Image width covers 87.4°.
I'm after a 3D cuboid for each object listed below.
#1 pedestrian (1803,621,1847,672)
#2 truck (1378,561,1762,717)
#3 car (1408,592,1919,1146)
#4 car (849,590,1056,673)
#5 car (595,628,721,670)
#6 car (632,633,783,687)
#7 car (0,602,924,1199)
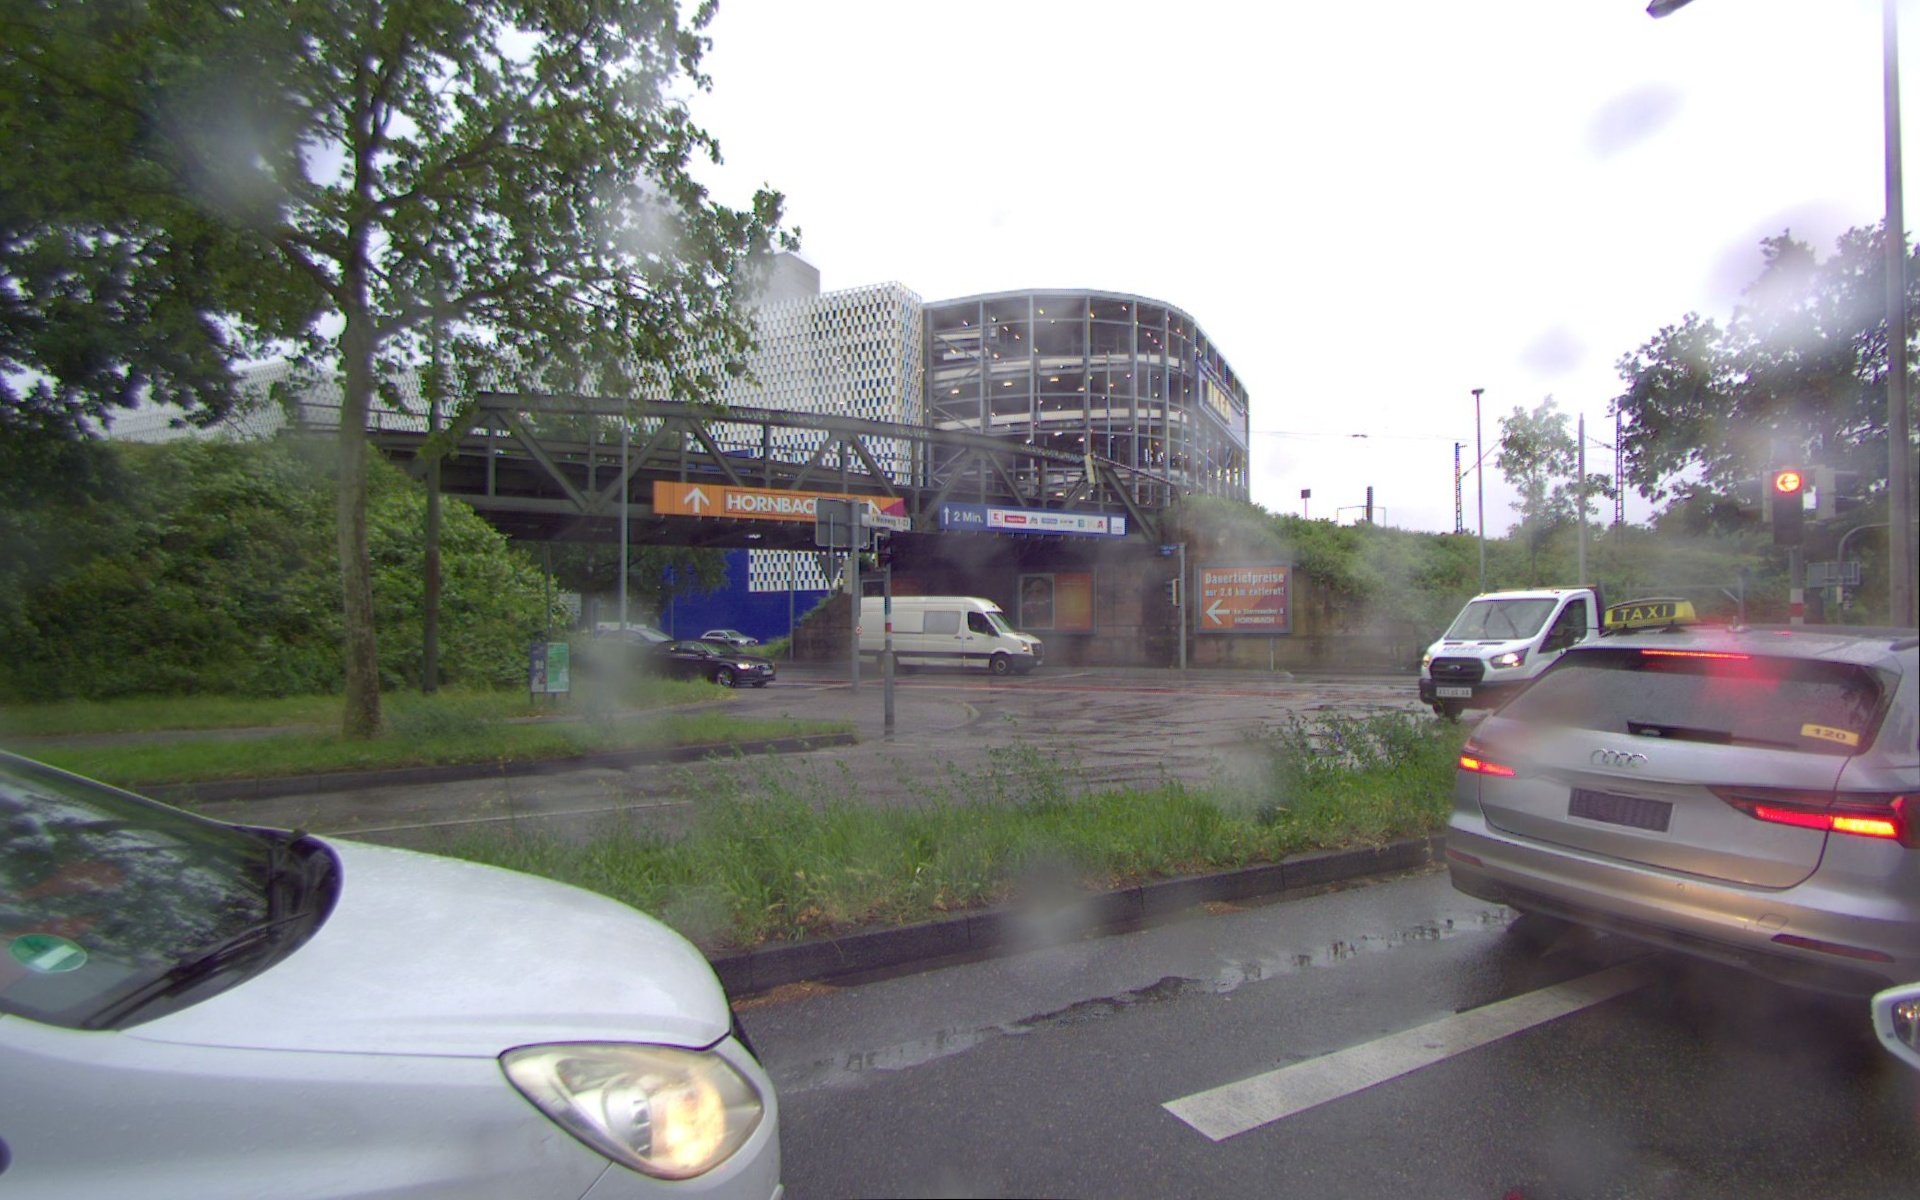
[{"bbox_3d":[32.388,1.731,37.600,1.122,1.871,1.092,2,-2,-41],"label":"pedestrian"},{"bbox_3d":[10.976,0.687,18.015,6.771,2.396,2.468,1,-2,-24],"label":"truck"},{"bbox_3d":[4.431,0.810,4.827,4.766,1.595,1.760,1,0,-31],"label":"car"},{"bbox_3d":[-0.294,1.103,34.737,6.847,2.645,2.386,-1,-2,25],"label":"car"},{"bbox_3d":[-12.218,1.936,40.630,4.858,1.621,1.882,-1,-2,24],"label":"car"},{"bbox_3d":[-7.355,1.716,29.274,4.067,1.453,1.693,-1,-1,23],"label":"car"},{"bbox_3d":[-2.177,0.704,1.257,3.966,1.395,1.669,1,0,-32],"label":"car"}]
